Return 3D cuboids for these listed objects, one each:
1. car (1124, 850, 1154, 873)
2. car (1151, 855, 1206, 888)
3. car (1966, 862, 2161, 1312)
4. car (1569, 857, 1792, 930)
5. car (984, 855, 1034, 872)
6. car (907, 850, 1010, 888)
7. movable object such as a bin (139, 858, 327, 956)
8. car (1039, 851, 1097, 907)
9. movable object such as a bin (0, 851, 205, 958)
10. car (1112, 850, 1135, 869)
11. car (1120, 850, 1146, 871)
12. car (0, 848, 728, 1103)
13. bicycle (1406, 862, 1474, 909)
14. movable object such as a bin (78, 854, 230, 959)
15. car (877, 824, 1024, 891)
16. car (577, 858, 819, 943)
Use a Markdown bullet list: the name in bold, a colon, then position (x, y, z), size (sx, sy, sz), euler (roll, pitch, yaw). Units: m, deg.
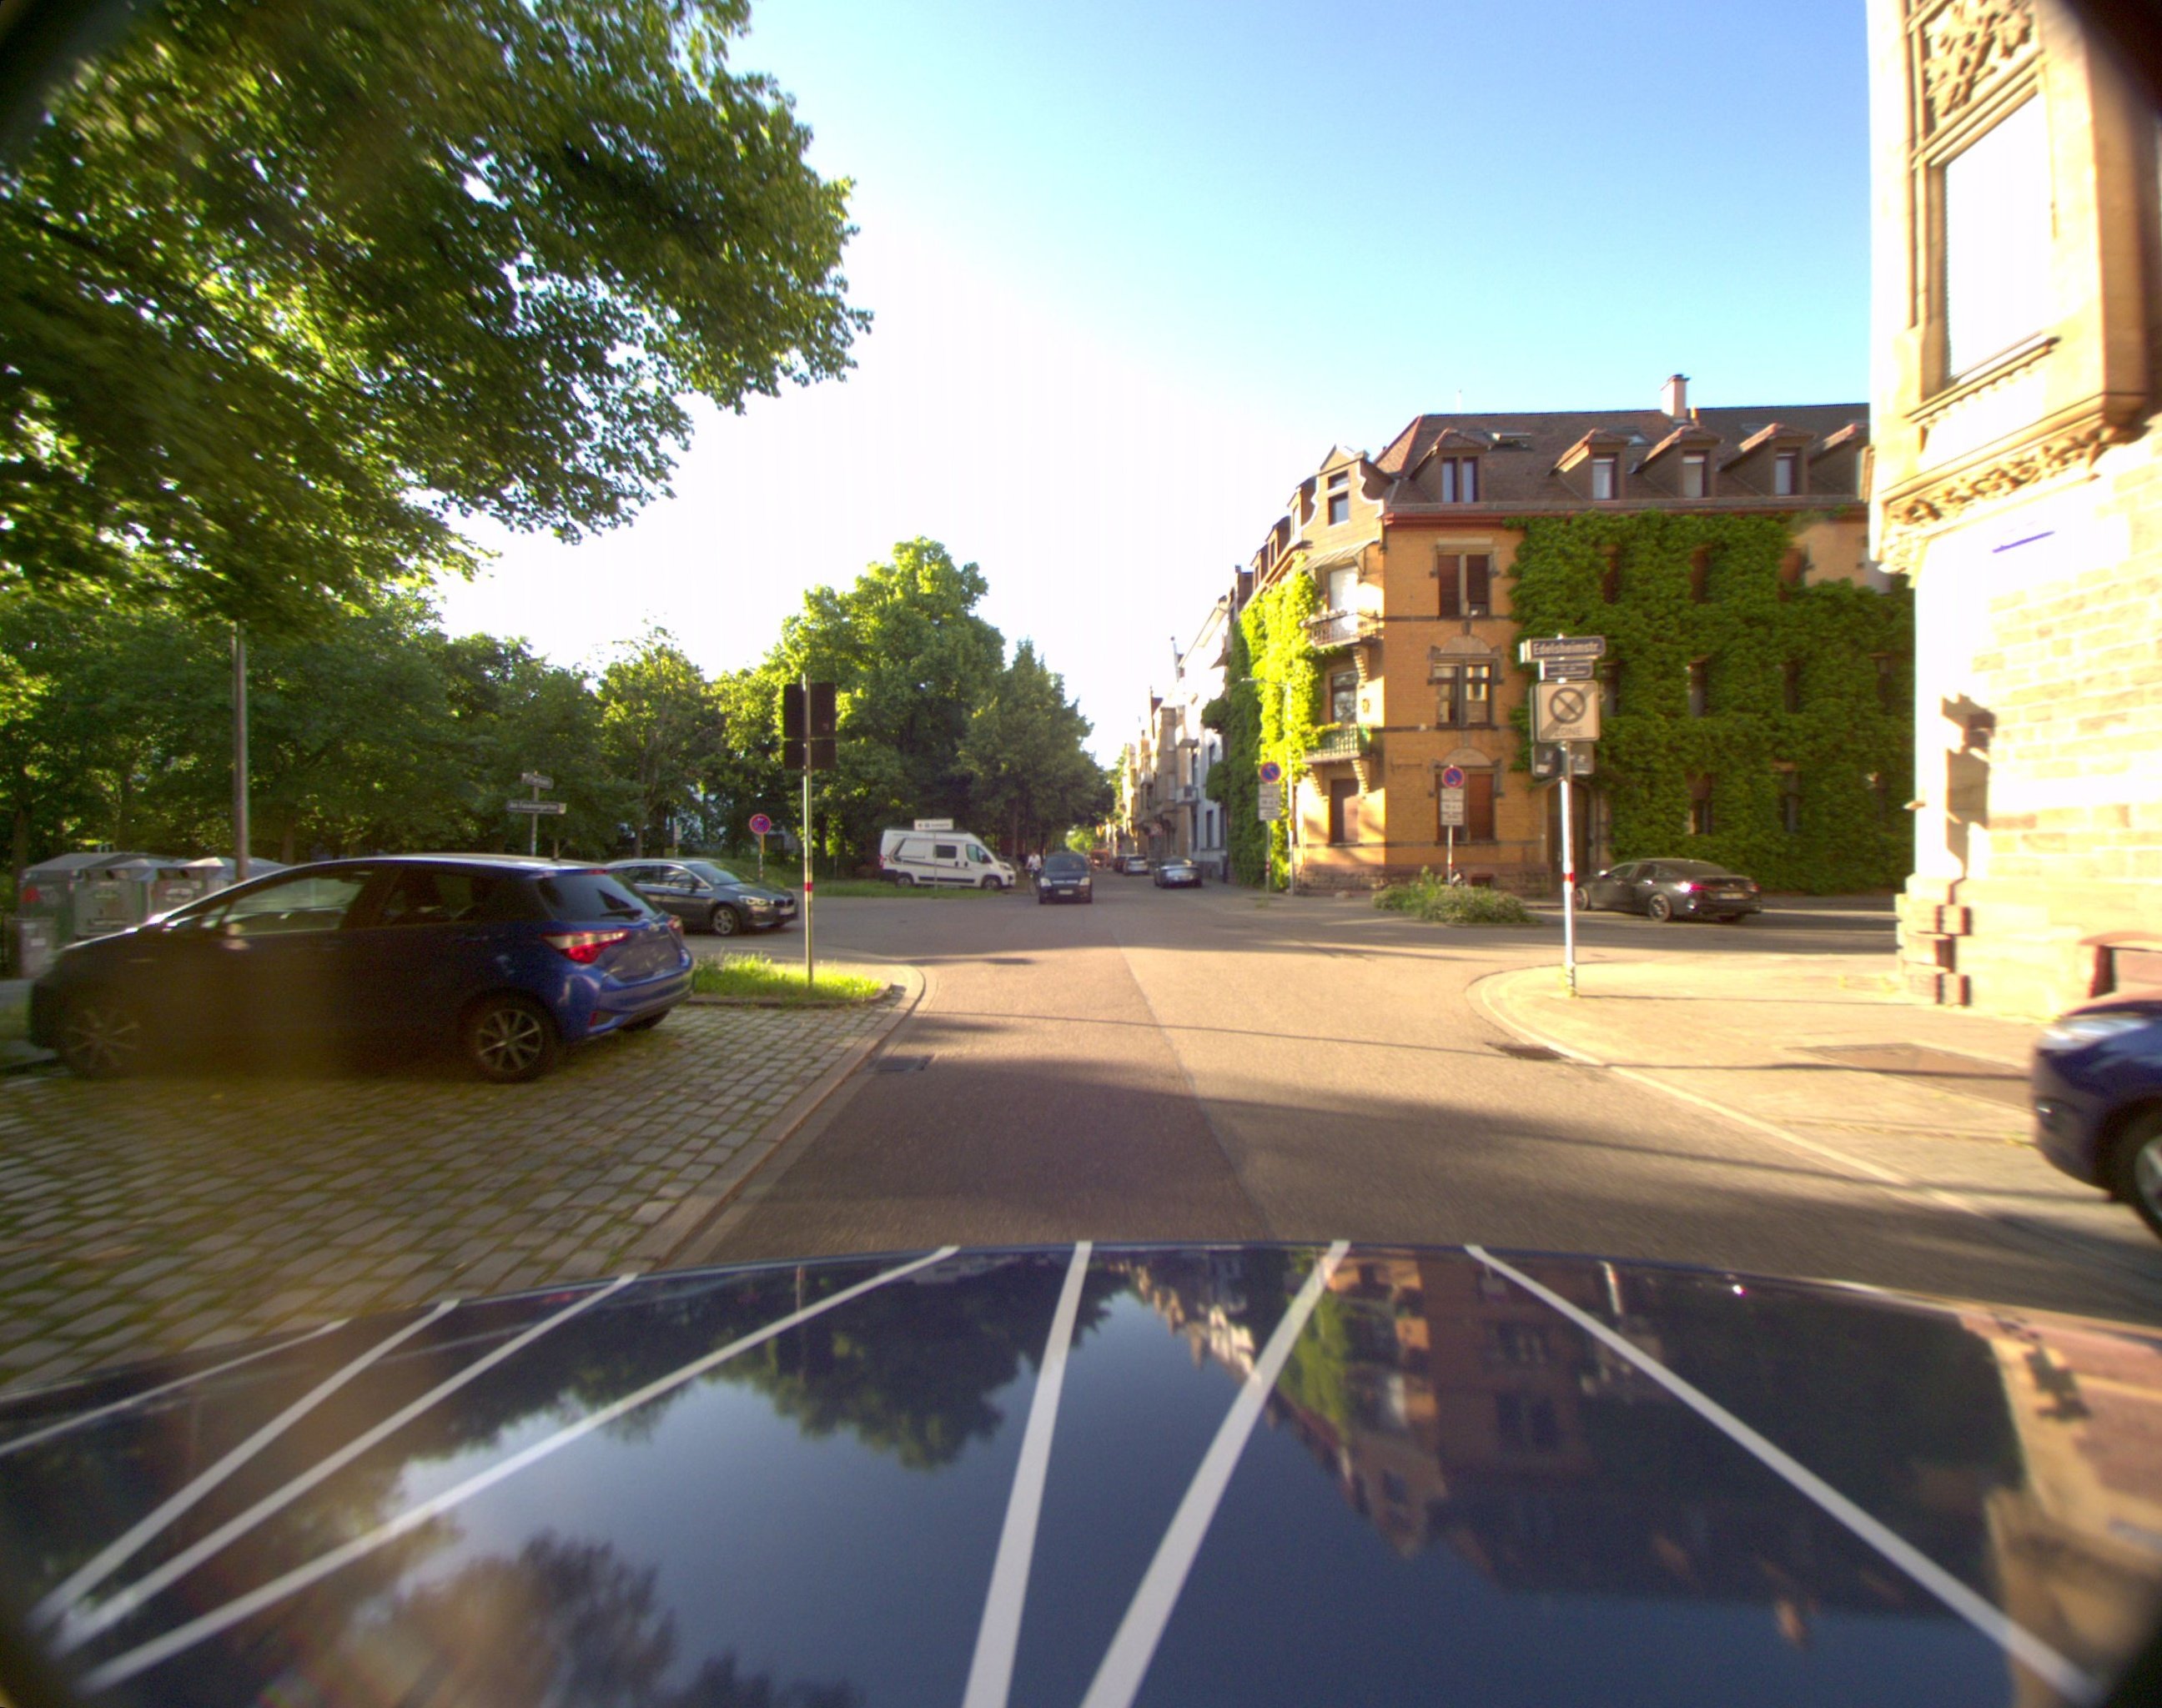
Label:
- **car**: position (4.366, 0.539, 57.710), size (1.867, 1.538, 3.791), euler (-1, 2, -1)
- **car**: position (4.575, 0.770, 36.439), size (1.882, 1.397, 4.924), euler (-2, 0, -1)
- **car**: position (4.864, 0.843, 1.257), size (1.734, 1.612, 4.257), euler (-2, 0, -3)
- **car**: position (14.077, 0.846, 18.242), size (1.998, 1.427, 4.256), euler (0, 2, 0)
- **car**: position (-5.672, 0.754, 60.323), size (3.879, 1.249, 1.784), euler (-1, 2, -2)
- **car**: position (-5.412, 0.659, 33.915), size (4.297, 1.566, 1.978), euler (-1, 2, -2)
- **movable object such as a bin**: position (-15.480, 0.927, 13.955), size (1.638, 1.648, 1.591), euler (0, 2, 6)
- **car**: position (-0.445, 0.737, 24.259), size (1.649, 1.581, 4.019), euler (-2, 0, -2)
- **movable object such as a bin**: position (-18.467, 0.899, 14.398), size (1.392, 1.843, 1.927), euler (0, 2, 7)
- **car**: position (3.963, 0.481, 71.588), size (1.998, 1.616, 4.142), euler (0, 2, 1)
- **car**: position (4.524, 0.531, 66.443), size (1.998, 1.616, 4.142), euler (0, 2, 1)
- **car**: position (-5.144, 0.778, 5.778), size (3.998, 1.547, 1.999), euler (1, 2, -3)
- **bicycle**: position (10.002, 0.872, 21.191), size (1.600, 1.261, 0.565), euler (-1, 0, 9)
- **movable object such as a bin**: position (-17.028, 0.924, 13.998), size (1.384, 1.817, 1.151), euler (0, 2, 6)
- **car**: position (-5.235, 0.107, 31.207), size (5.628, 2.599, 2.238), euler (-1, 2, -2)
- **car**: position (-8.272, 0.923, 16.500), size (4.609, 1.613, 1.893), euler (0, 2, 16)
